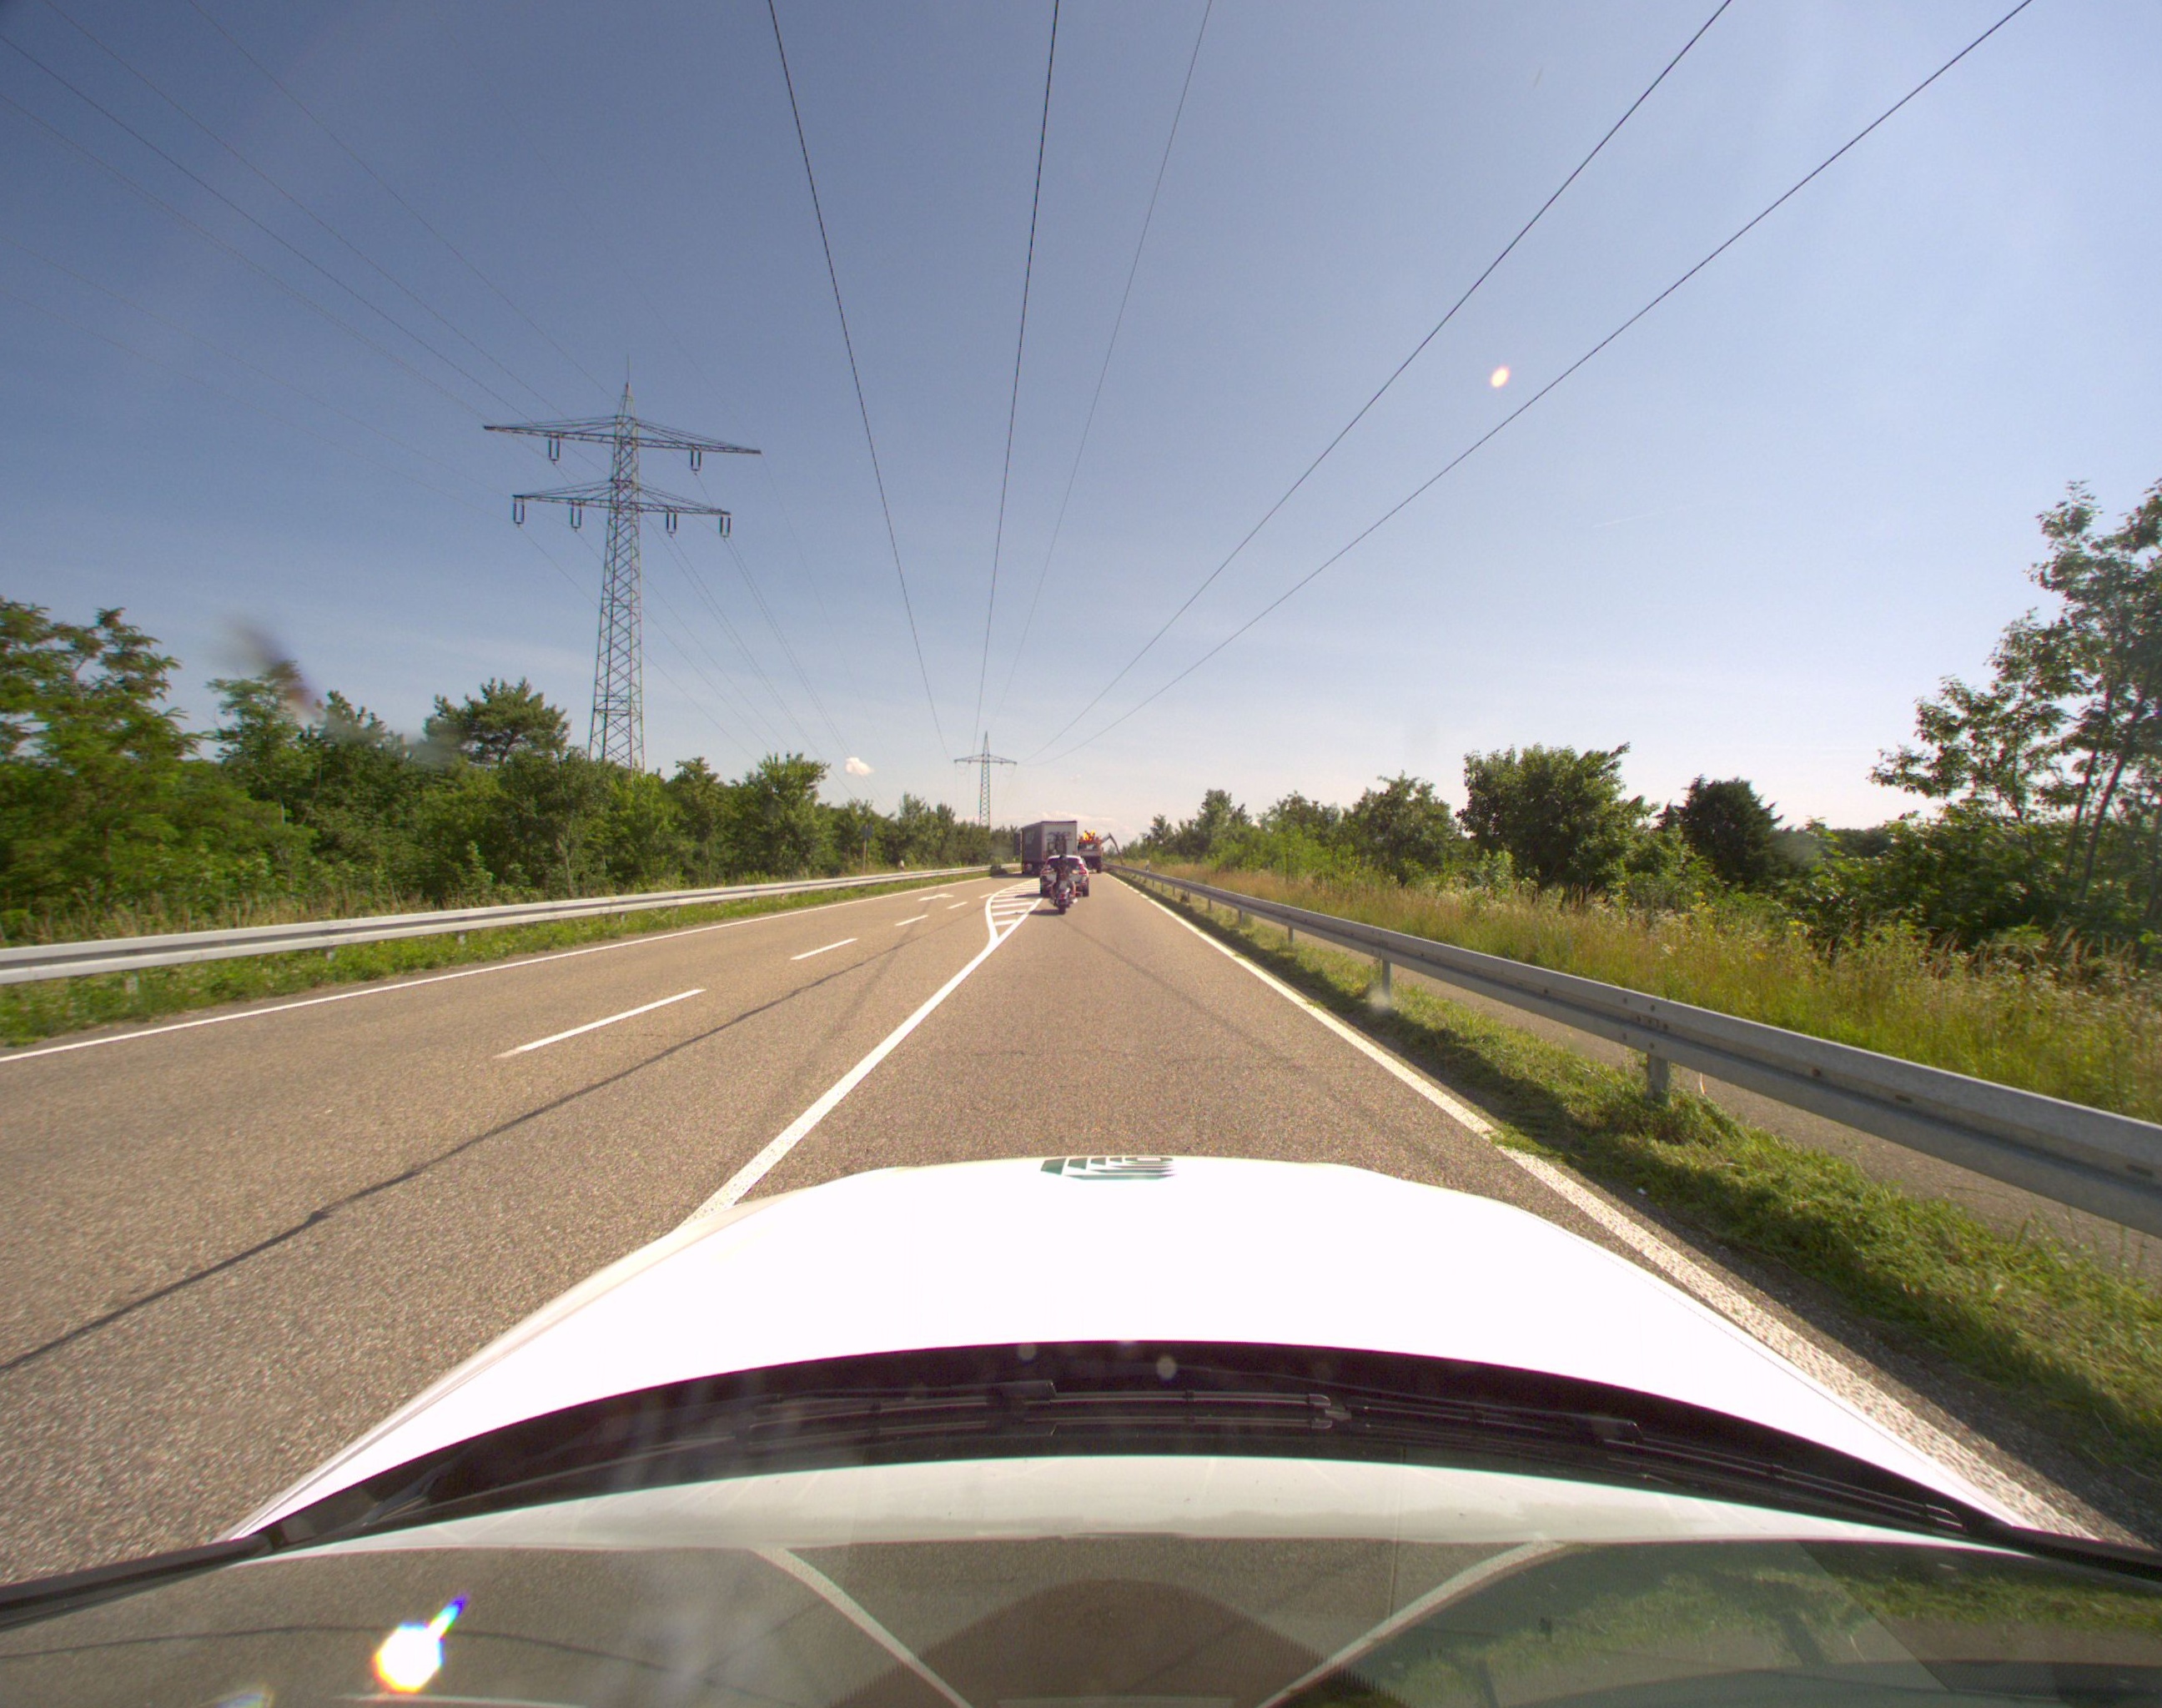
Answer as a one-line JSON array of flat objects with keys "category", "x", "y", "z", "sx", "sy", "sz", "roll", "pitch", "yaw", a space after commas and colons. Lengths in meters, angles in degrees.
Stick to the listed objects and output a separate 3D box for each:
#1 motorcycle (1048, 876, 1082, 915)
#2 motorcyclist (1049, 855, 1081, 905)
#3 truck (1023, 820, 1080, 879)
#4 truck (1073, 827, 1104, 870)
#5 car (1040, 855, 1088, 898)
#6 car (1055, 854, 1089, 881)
[{"category": "motorcycle", "x": -0.438, "y": 1.081, "z": 21.651, "sx": 0.856, "sy": 0.915, "sz": 2.226, "roll": -1, "pitch": 0, "yaw": -2}, {"category": "motorcyclist", "x": -0.435, "y": 0.679, "z": 21.754, "sx": 0.835, "sy": 1.280, "sz": 0.918, "roll": 0, "pitch": 0, "yaw": -2}, {"category": "truck", "x": -2.631, "y": -0.315, "z": 65.494, "sx": 2.967, "sy": 4.187, "sz": 14.777, "roll": 0, "pitch": 0, "yaw": -9}, {"category": "truck", "x": 0.601, "y": -0.482, "z": 73.341, "sx": 2.606, "sy": 3.711, "sz": 6.775, "roll": 0, "pitch": 0, "yaw": -1}, {"category": "car", "x": -0.657, "y": 0.810, "z": 31.166, "sx": 1.696, "sy": 1.536, "sz": 3.497, "roll": 0, "pitch": 0, "yaw": -2}, {"category": "car", "x": -0.502, "y": 0.737, "z": 46.579, "sx": 1.849, "sy": 1.490, "sz": 3.739, "roll": 0, "pitch": 0, "yaw": -1}]
